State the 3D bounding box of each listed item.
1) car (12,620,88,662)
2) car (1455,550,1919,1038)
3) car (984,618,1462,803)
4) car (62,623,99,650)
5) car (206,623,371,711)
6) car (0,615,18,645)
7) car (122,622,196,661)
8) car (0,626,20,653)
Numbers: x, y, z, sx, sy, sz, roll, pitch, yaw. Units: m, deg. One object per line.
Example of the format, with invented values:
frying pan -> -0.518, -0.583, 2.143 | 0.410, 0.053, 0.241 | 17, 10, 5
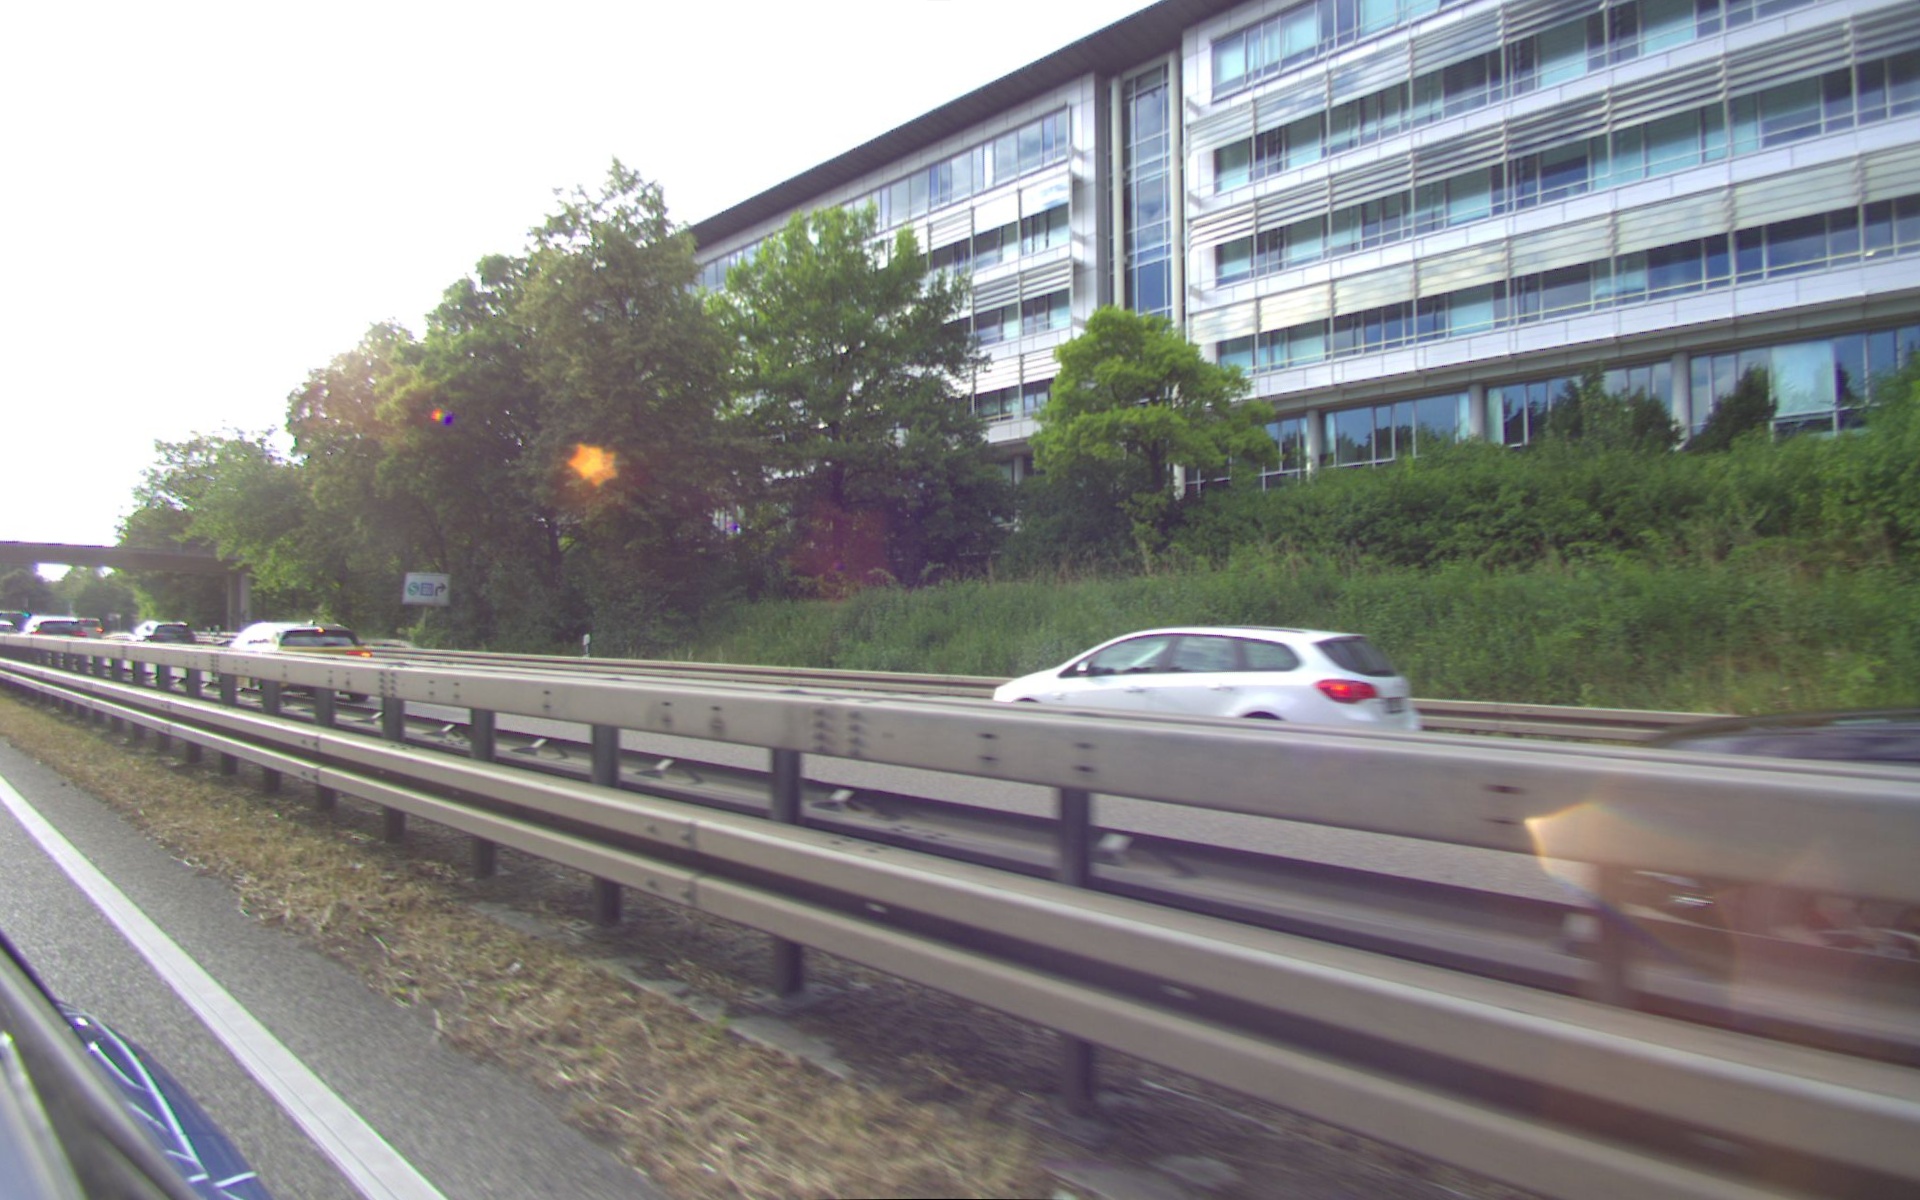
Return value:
car -> -36.476, 1.609, 40.527 | 4.314, 1.596, 1.801 | -2, -2, 42
car -> 4.708, 0.649, 3.312 | 5.277, 1.657, 1.724 | -1, -2, 42
car -> 2.518, 0.983, 10.381 | 4.415, 1.496, 1.798 | -1, -4, 41
car -> -63.860, 2.608, 73.454 | 1.846, 1.869, 4.626 | 0, -1, -44
car -> -12.528, 1.165, 18.800 | 3.998, 1.458, 1.575 | -1, -2, 42
car -> -83.001, 2.594, 87.030 | 6.938, 2.556, 2.226 | -2, -1, 42
car -> -34.178, 1.725, 43.140 | 4.309, 1.601, 1.725 | -1, -1, 41
car -> -49.493, 2.014, 51.793 | 3.830, 1.362, 1.658 | -1, -1, 41
